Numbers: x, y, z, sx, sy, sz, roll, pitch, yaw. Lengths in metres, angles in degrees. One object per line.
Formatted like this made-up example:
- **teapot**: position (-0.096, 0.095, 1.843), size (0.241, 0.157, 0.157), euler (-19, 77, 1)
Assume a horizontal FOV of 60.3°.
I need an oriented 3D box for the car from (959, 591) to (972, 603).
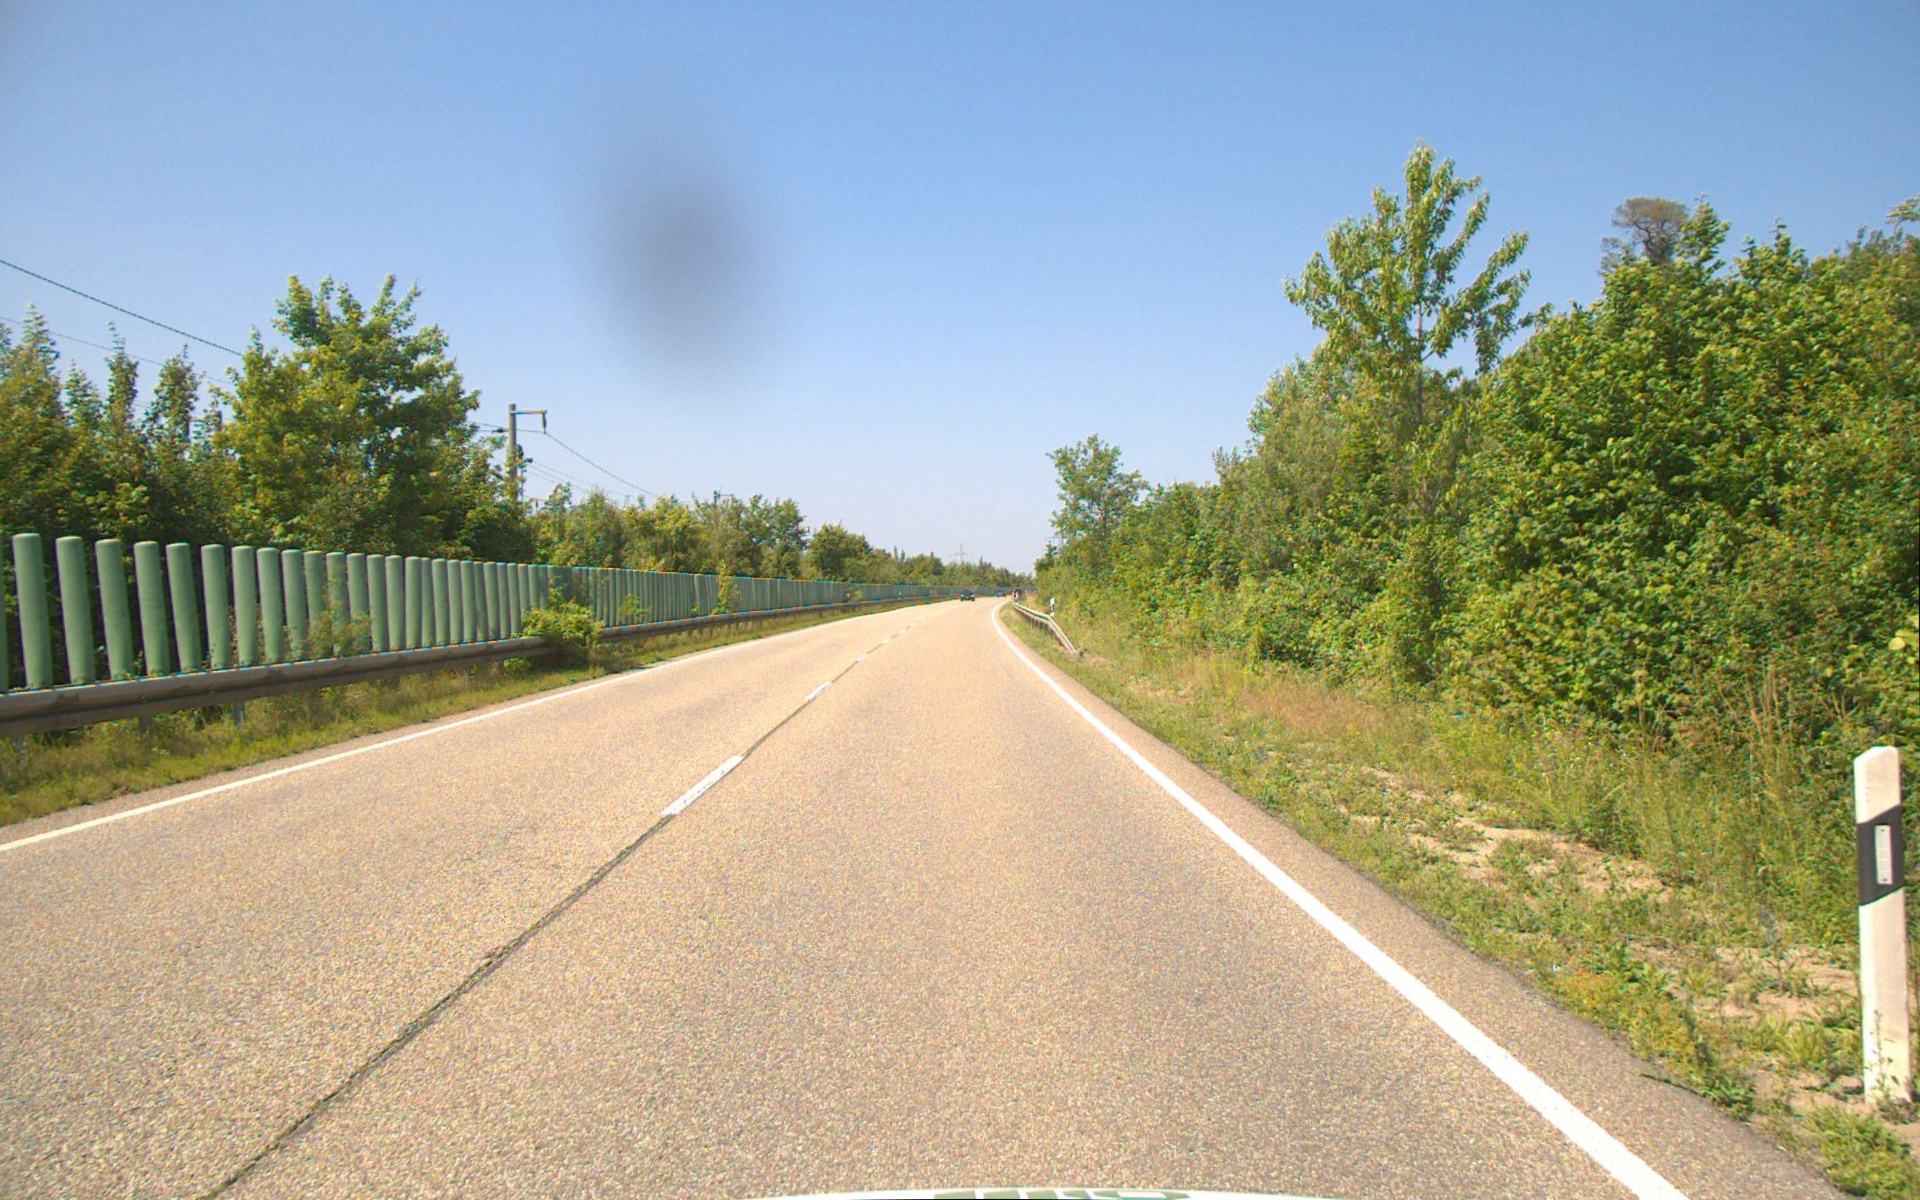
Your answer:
- **car**: position (0.695, -0.394, 217.907), size (1.727, 1.669, 4.126), euler (0, 0, 0)
